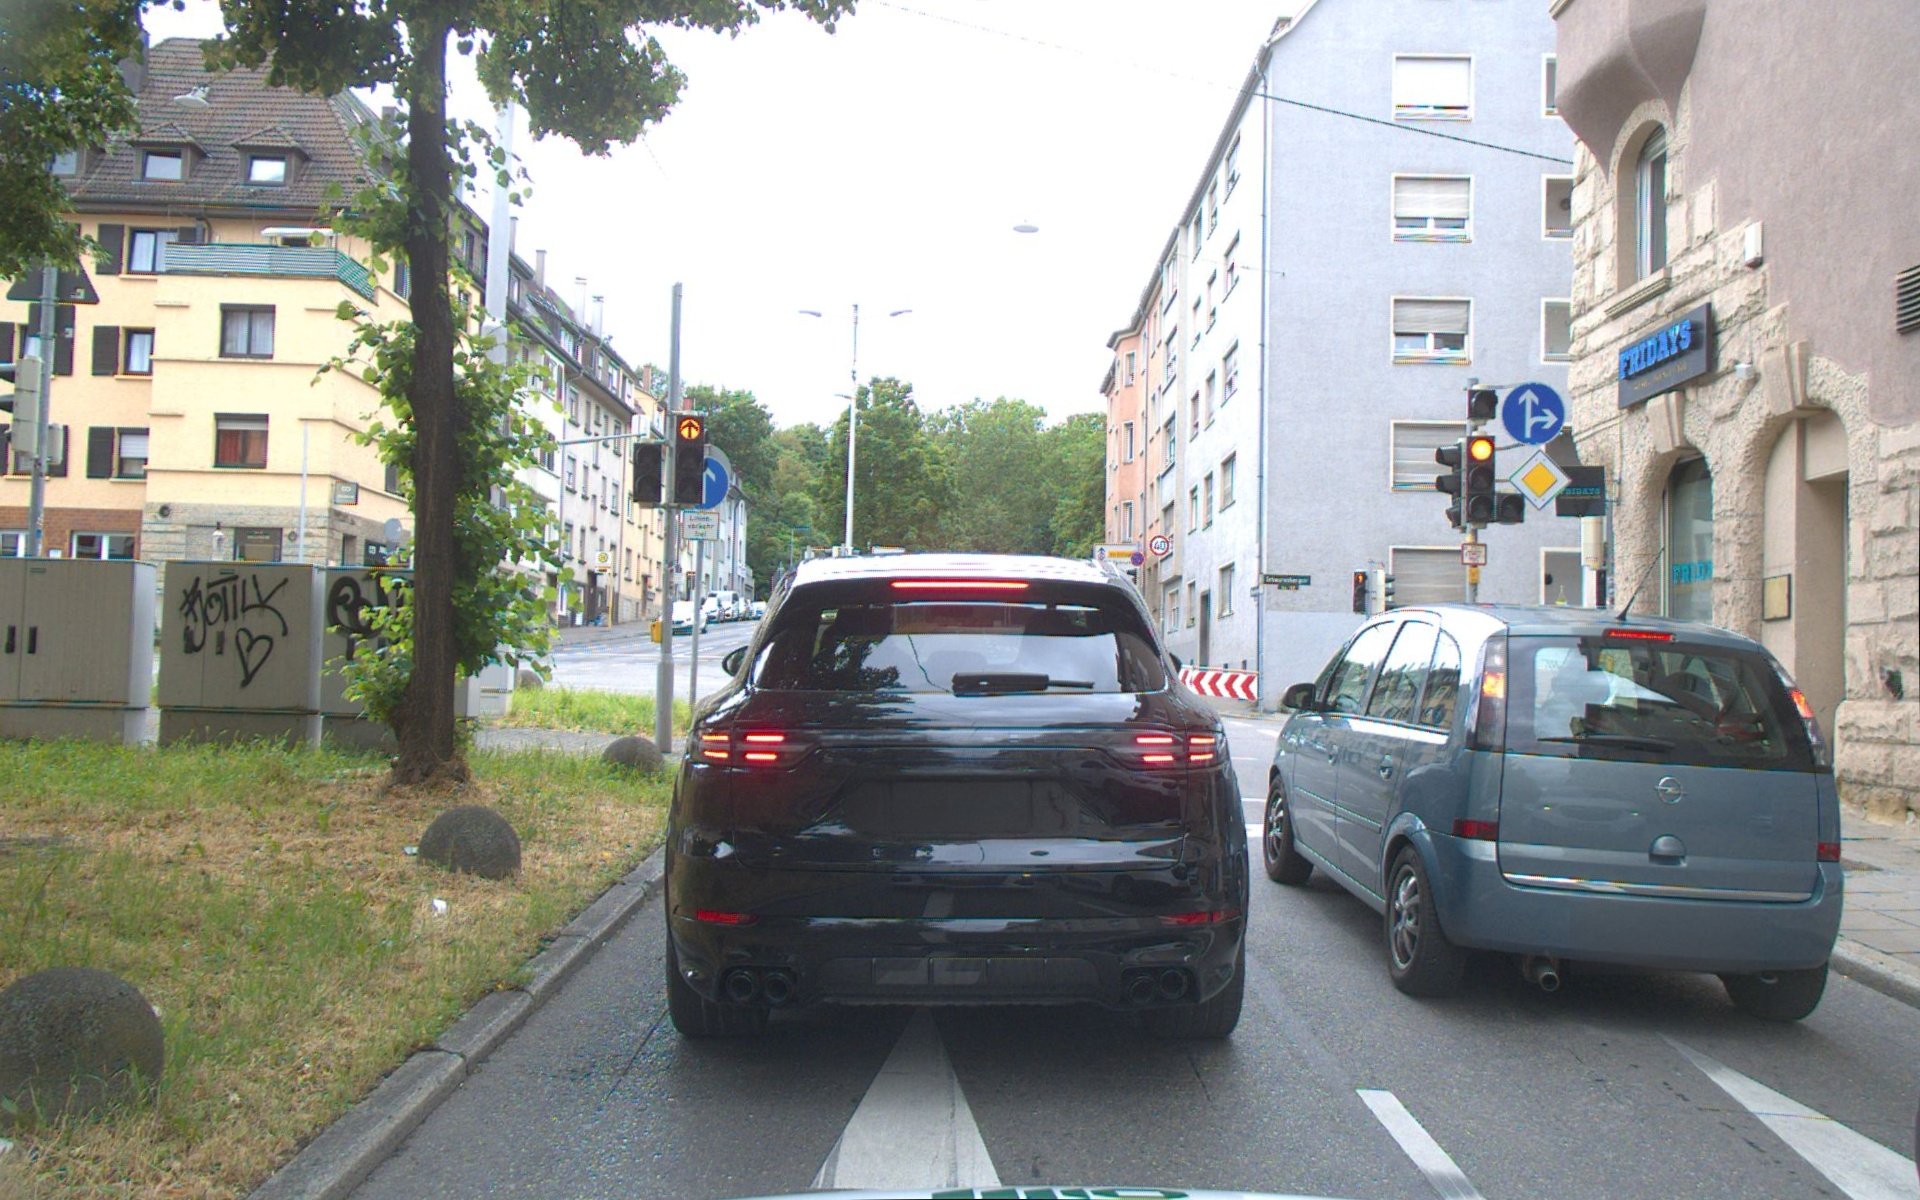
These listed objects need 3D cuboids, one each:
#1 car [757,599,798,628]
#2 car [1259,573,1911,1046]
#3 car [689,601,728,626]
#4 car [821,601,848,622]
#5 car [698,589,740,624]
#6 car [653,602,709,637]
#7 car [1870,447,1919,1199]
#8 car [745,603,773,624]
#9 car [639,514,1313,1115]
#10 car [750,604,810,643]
[{"bbox_3d":[-10.709,0.785,97.204,1.933,1.638,4.557,1,0,-1],"label":"car"},{"bbox_3d":[2.629,0.777,7.899,1.596,1.625,3.668,4,0,-1],"label":"car"},{"bbox_3d":[-15.019,0.806,98.930,1.703,1.411,3.813,1,0,0],"label":"car"},{"bbox_3d":[-9.734,0.890,128.511,1.585,1.506,3.824,1,-1,3],"label":"car"},{"bbox_3d":[-15.187,0.417,104.457,1.975,2.081,4.666,1,0,0],"label":"car"},{"bbox_3d":[-12.615,0.869,74.943,1.806,1.512,3.898,1,0,1],"label":"car"},{"bbox_3d":[2.907,0.664,1.005,1.936,1.806,4.674,4,0,-2],"label":"car"},{"bbox_3d":[-15.147,1.018,124.719,1.655,1.565,3.813,1,0,0],"label":"car"},{"bbox_3d":[0.023,0.619,6.714,1.916,1.704,3.999,0,0,-1],"label":"car"},{"bbox_3d":[-6.808,0.868,62.877,1.824,1.412,4.094,1,0,0],"label":"car"}]
